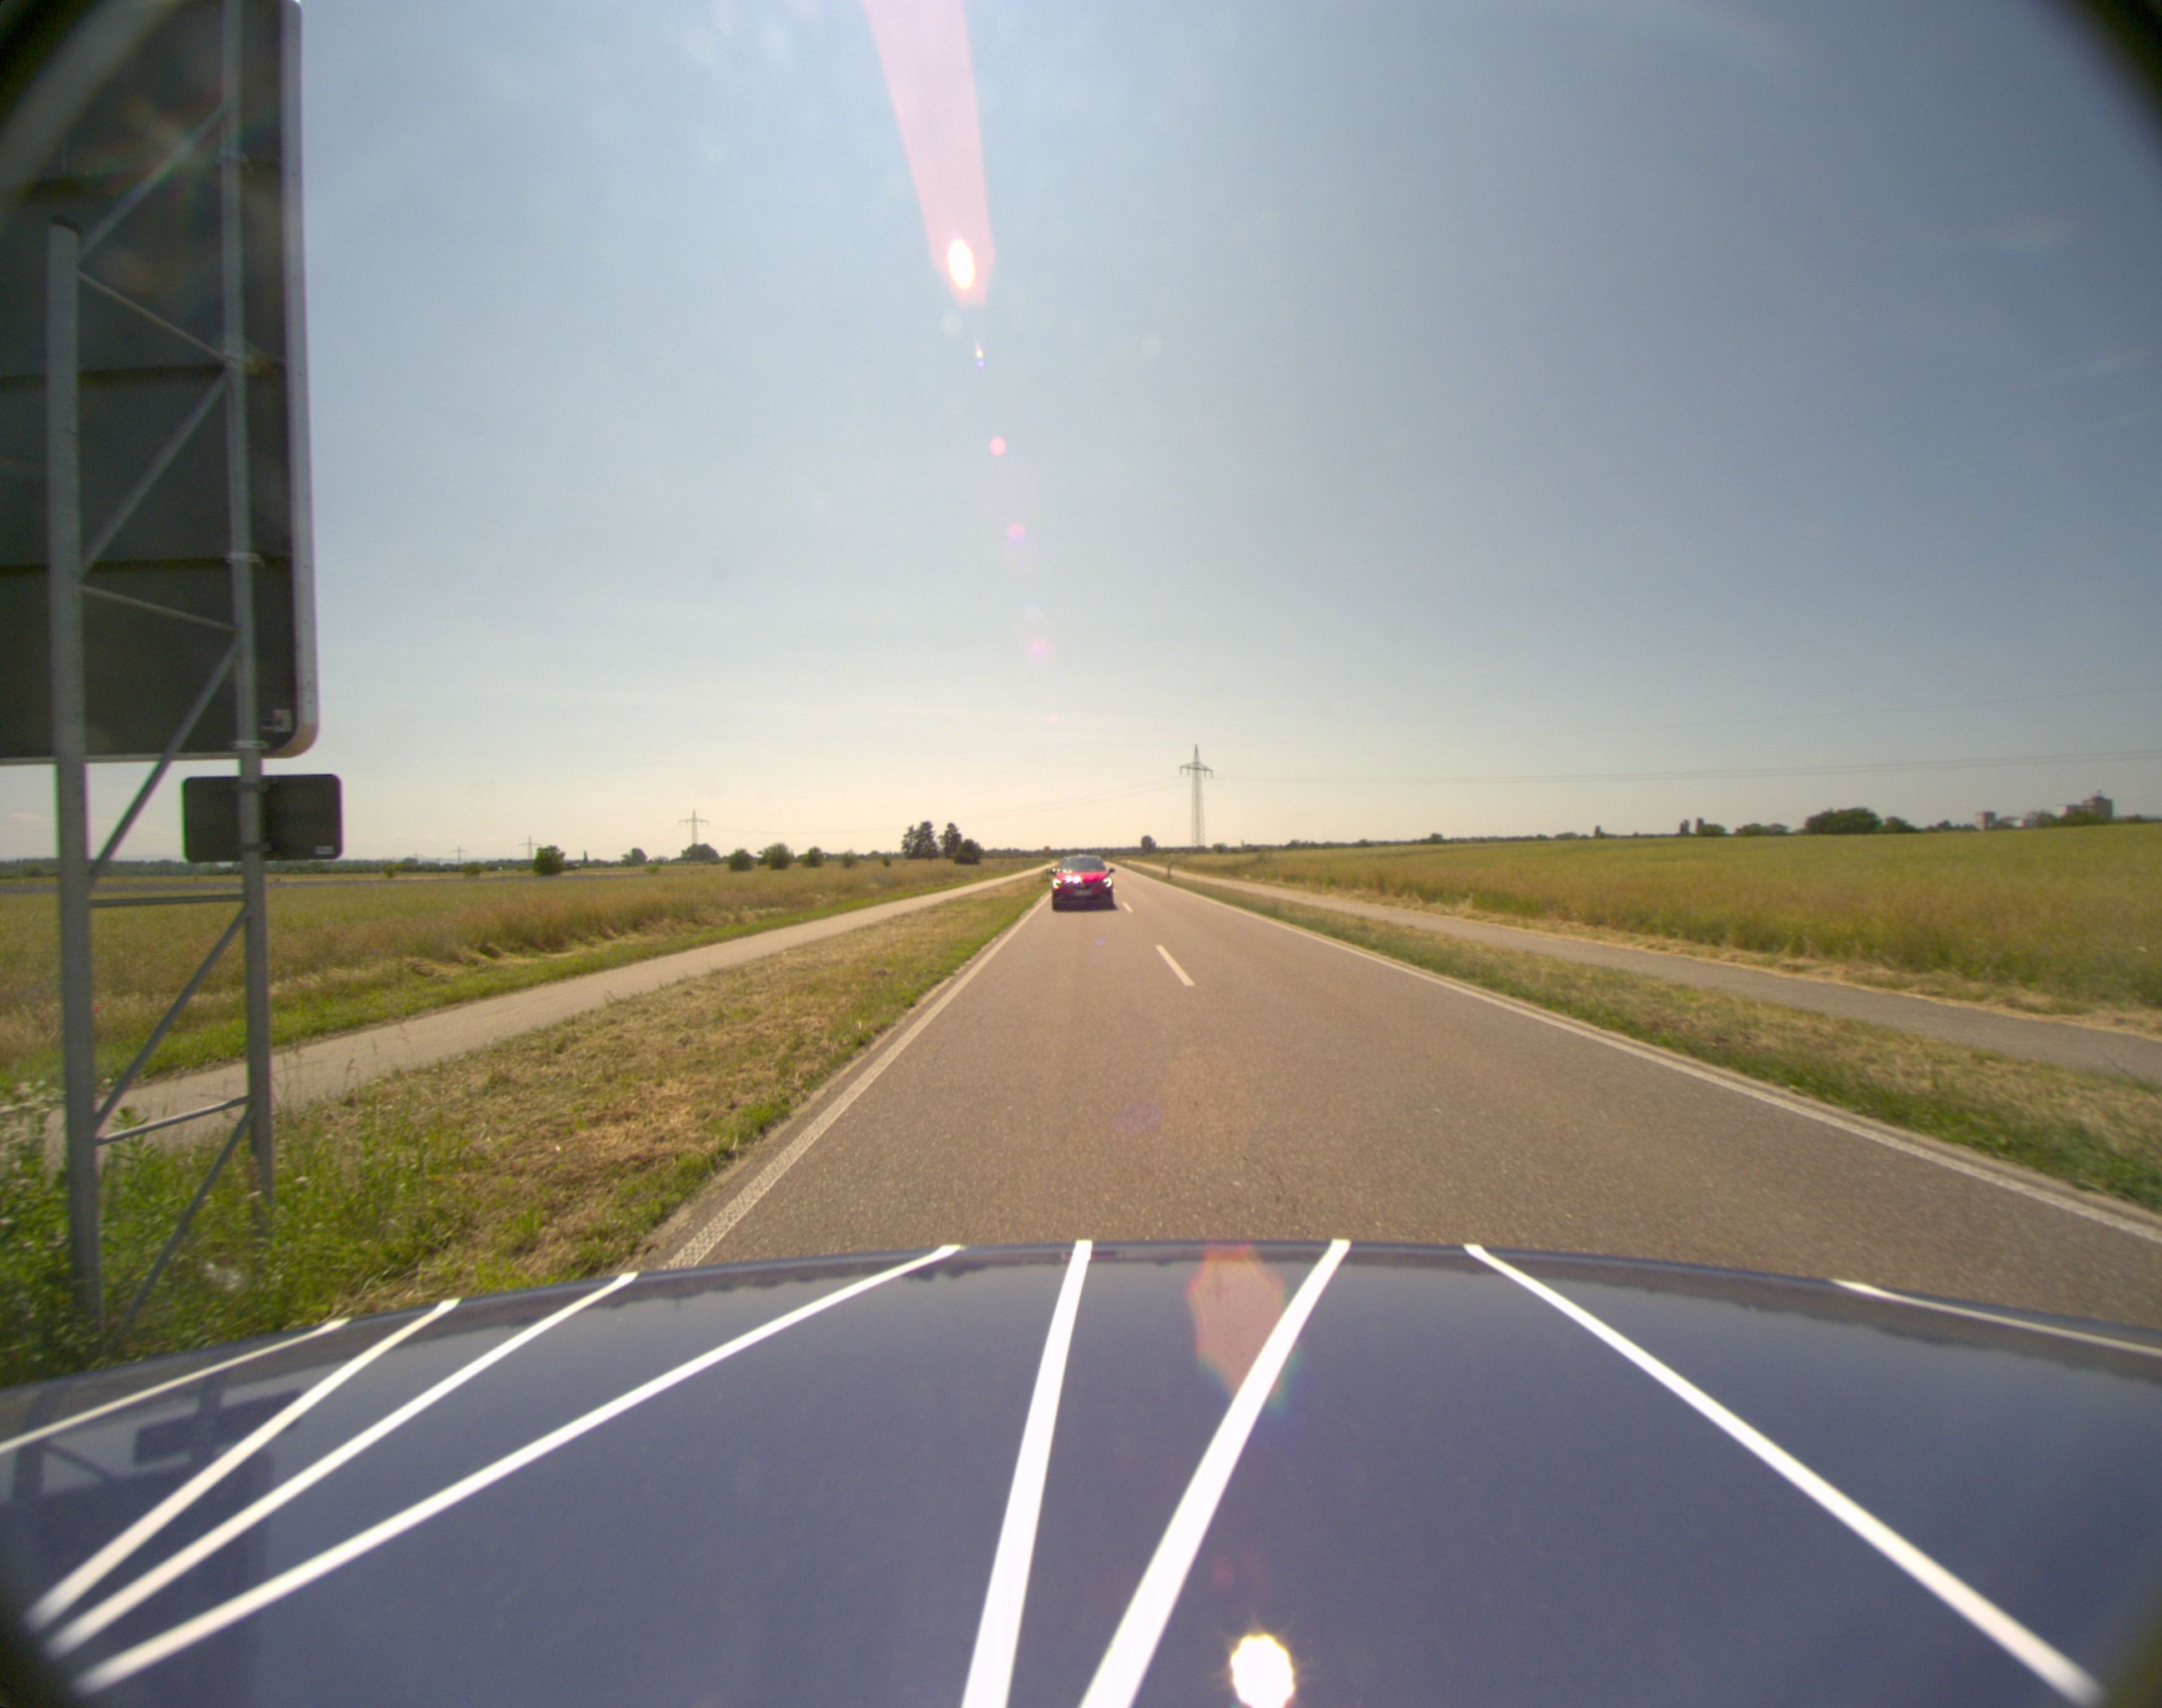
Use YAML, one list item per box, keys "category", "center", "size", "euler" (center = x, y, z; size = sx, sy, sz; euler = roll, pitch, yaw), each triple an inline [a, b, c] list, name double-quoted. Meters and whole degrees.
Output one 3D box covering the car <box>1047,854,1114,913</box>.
- category: "car"
  center: [0.072, 0.845, 23.786]
  size: [1.826, 1.543, 4.449]
  euler: [-2, 1, 3]
